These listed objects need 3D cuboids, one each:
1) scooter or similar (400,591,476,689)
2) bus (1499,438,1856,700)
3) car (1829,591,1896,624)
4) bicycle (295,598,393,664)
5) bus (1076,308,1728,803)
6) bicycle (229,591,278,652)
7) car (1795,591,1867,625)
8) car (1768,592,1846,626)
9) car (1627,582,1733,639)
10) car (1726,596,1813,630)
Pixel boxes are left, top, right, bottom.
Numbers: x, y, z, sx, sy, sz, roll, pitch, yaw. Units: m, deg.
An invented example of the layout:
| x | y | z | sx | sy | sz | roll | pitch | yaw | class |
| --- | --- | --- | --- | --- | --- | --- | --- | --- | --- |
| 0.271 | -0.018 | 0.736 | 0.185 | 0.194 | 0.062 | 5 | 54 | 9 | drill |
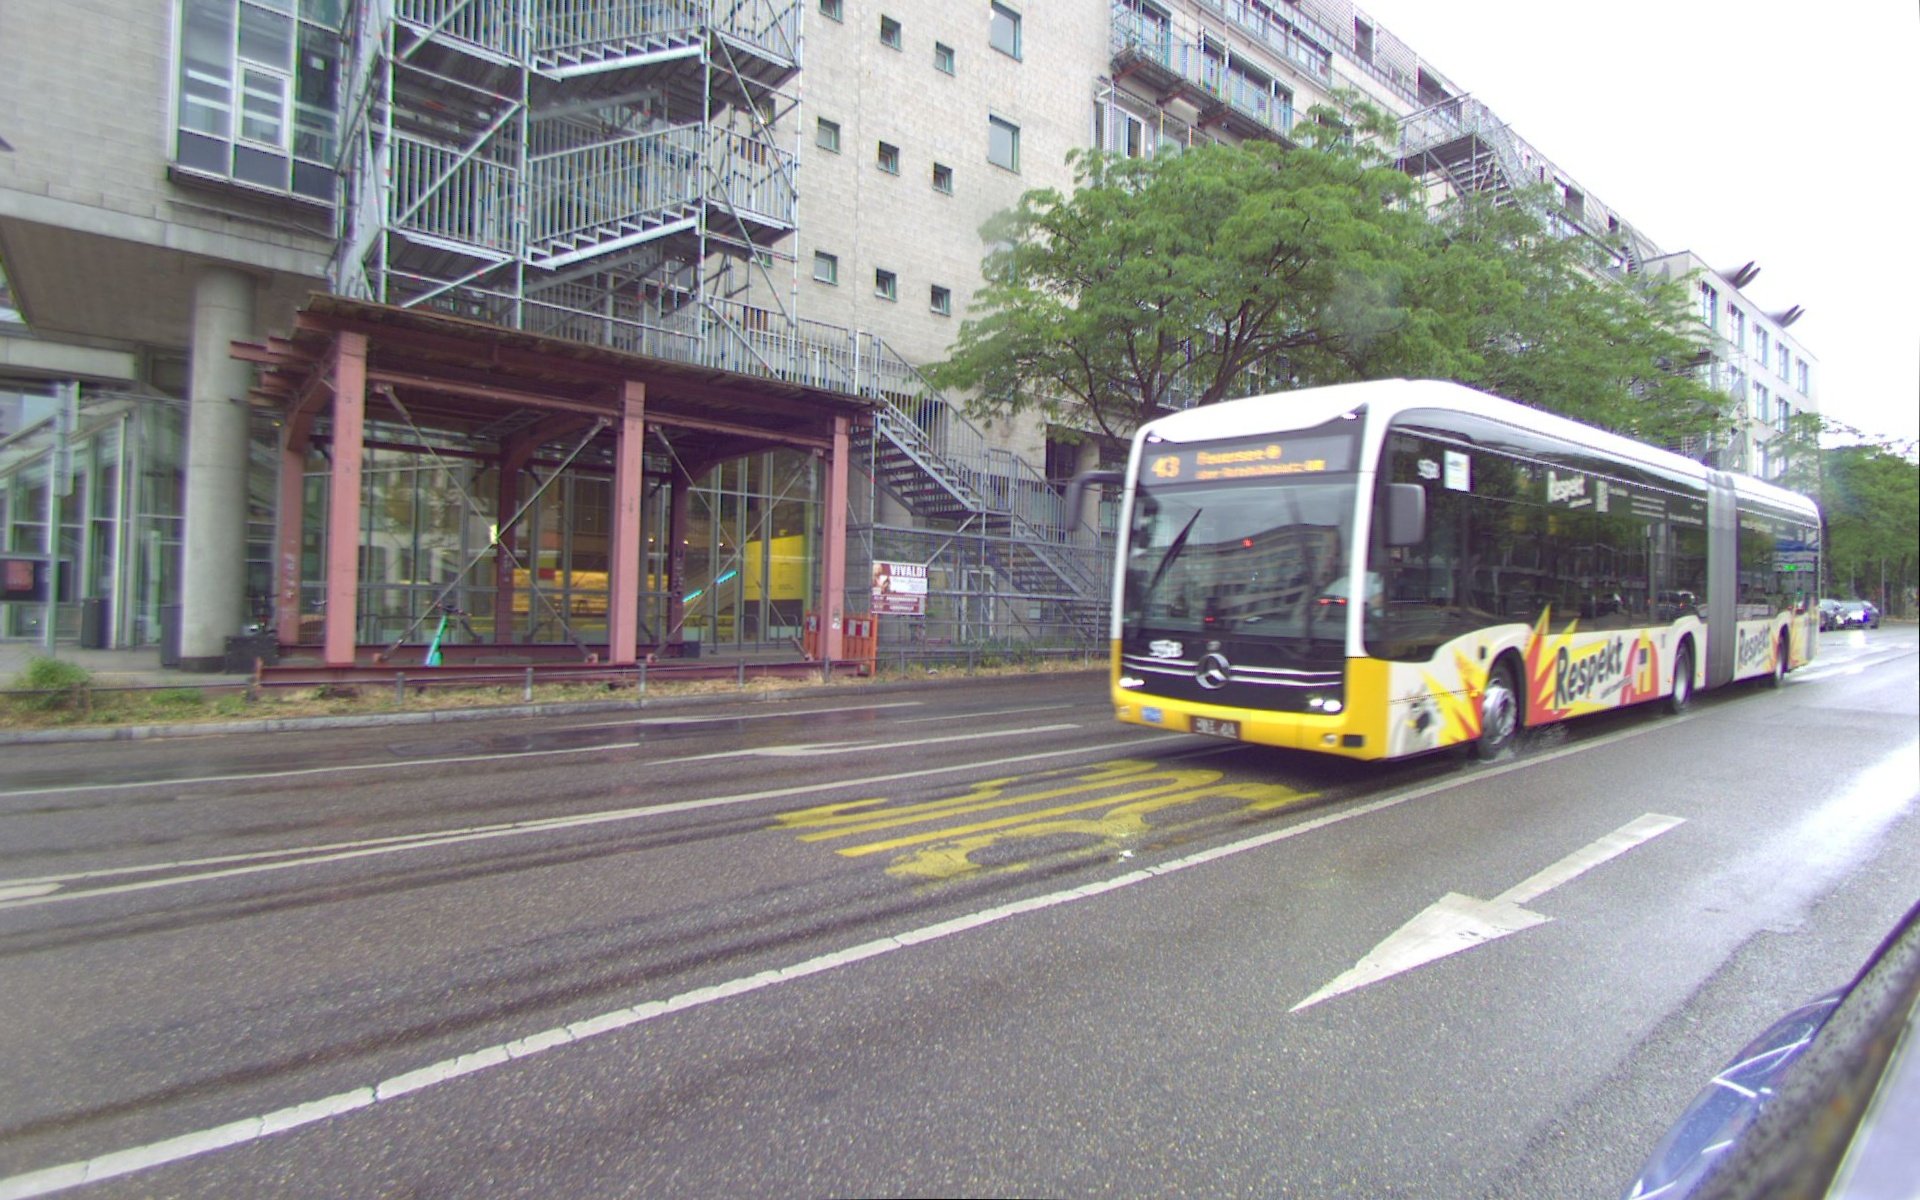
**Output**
| x | y | z | sx | sy | sz | roll | pitch | yaw | class |
| --- | --- | --- | --- | --- | --- | --- | --- | --- | --- |
| -6.938 | 0.492 | 13.411 | 0.576 | 1.209 | 1.782 | 1 | 0 | -38 | scooter or similar |
| 12.868 | -0.469 | 17.659 | 9.541 | 3.483 | 2.888 | -1 | 0 | -41 | bus |
| 48.932 | 0.360 | 54.852 | 4.733 | 1.667 | 2.145 | -1 | 0 | -41 | car |
| -11.986 | 0.579 | 19.735 | 0.580 | 1.209 | 1.602 | 0 | 0 | 24 | bicycle |
| 5.629 | -0.369 | 11.386 | 9.586 | 3.494 | 2.888 | -1 | 0 | -41 | bus |
| -14.473 | 0.422 | 20.711 | 0.577 | 1.209 | 1.611 | 0 | 0 | -44 | bicycle |
| 44.359 | 0.371 | 51.527 | 4.733 | 1.580 | 2.145 | -1 | 1 | -41 | car |
| 40.247 | 0.399 | 48.065 | 4.733 | 1.513 | 2.145 | -1 | 1 | -41 | car |
| 26.067 | 0.338 | 36.586 | 4.254 | 1.930 | 2.211 | -1 | 0 | -41 | car |
| 35.092 | 0.532 | 43.815 | 4.733 | 1.353 | 2.145 | -1 | 1 | -41 | car |
